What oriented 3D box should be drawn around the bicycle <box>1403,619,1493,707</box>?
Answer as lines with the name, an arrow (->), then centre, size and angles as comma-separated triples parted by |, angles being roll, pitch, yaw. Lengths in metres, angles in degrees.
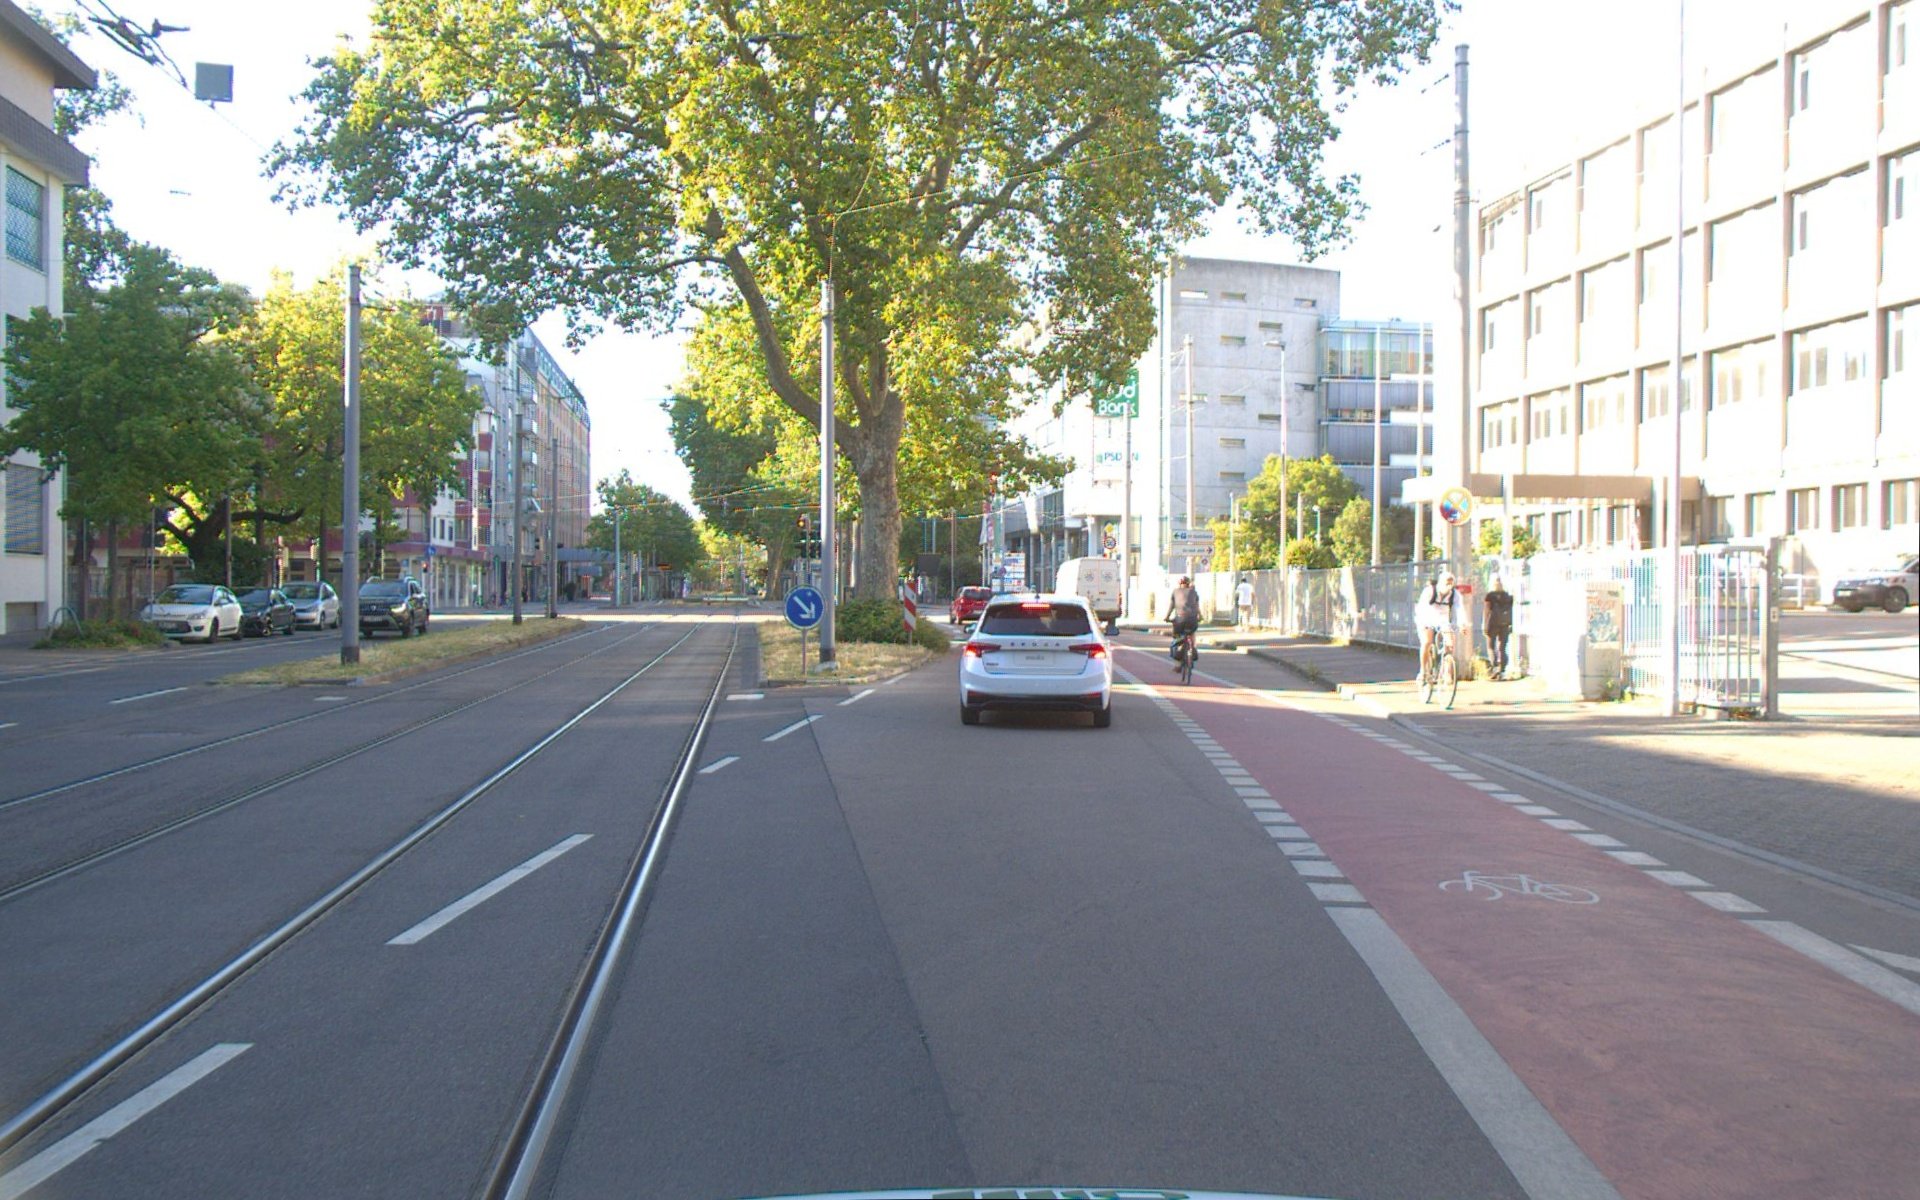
bicycle -> 6.442, 0.810, 21.936 | 0.660, 1.050, 1.901 | -2, 1, 2

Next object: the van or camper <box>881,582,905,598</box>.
van or camper -> -7.761, -1.174, 190.690 | 2.106, 1.781, 4.421 | -1, 1, -10

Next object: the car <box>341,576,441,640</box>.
car -> -15.863, 0.181, 46.330 | 1.957, 1.719, 4.300 | 0, 1, -10

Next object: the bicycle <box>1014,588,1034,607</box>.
bicycle -> 3.969, -0.168, 102.357 | 0.778, 1.182, 2.494 | 0, 1, -9

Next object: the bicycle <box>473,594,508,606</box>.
bicycle -> -30.440, -0.013, 107.356 | 2.130, 0.801, 0.639 | 0, 0, -11

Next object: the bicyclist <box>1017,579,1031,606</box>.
bicyclist -> 3.952, -0.442, 102.456 | 0.771, 1.663, 0.637 | 0, 0, -10

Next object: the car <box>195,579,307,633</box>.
car -> -20.743, 0.143, 48.558 | 1.957, 1.502, 4.639 | 0, 1, -10

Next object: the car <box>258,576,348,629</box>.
car -> -21.922, 0.054, 55.331 | 1.957, 1.719, 4.169 | 0, 1, -10

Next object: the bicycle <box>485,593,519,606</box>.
bicycle -> -30.327, -0.038, 109.506 | 2.130, 0.838, 0.526 | 0, 0, -11

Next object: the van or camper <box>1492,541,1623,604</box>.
van or camper -> 19.496, -0.893, 54.204 | 1.943, 1.942, 4.990 | -1, 1, -8

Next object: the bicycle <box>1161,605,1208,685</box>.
bicycle -> 3.791, 0.728, 27.974 | 0.728, 1.245, 2.158 | 2, 1, 7

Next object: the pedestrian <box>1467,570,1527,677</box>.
pedestrian -> 8.697, 0.369, 26.827 | 0.681, 1.713, 0.930 | 0, 0, 1

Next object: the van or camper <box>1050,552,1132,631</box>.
van or camper -> 4.969, -0.346, 63.685 | 2.224, 2.781, 6.342 | 2, 0, -3

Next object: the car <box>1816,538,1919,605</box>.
car -> 25.697, -0.763, 44.746 | 4.172, 1.748, 1.990 | 0, 0, -9

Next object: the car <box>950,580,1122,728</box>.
car -> 0.993, 0.558, 19.502 | 1.764, 1.527, 3.984 | 1, 0, 6

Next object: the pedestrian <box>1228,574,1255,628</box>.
pedestrian -> 9.442, 0.024, 55.482 | 0.769, 1.779, 0.772 | 0, 0, 2

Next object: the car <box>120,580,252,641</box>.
car -> -19.892, 0.223, 42.707 | 1.957, 1.496, 4.396 | 0, 1, -10

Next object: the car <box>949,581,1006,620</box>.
car -> 0.669, -0.008, 65.534 | 1.804, 1.515, 3.711 | 0, 1, -7

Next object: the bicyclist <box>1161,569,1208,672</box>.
bicyclist -> 3.796, 0.336, 27.953 | 0.727, 1.698, 0.745 | 2, 1, 7

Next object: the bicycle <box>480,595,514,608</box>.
bicycle -> -30.304, 0.091, 108.230 | 2.130, 0.801, 0.490 | 0, 0, -11

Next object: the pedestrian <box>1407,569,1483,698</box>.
pedestrian -> 6.435, 0.426, 21.987 | 0.656, 1.647, 1.102 | -2, 0, 1
